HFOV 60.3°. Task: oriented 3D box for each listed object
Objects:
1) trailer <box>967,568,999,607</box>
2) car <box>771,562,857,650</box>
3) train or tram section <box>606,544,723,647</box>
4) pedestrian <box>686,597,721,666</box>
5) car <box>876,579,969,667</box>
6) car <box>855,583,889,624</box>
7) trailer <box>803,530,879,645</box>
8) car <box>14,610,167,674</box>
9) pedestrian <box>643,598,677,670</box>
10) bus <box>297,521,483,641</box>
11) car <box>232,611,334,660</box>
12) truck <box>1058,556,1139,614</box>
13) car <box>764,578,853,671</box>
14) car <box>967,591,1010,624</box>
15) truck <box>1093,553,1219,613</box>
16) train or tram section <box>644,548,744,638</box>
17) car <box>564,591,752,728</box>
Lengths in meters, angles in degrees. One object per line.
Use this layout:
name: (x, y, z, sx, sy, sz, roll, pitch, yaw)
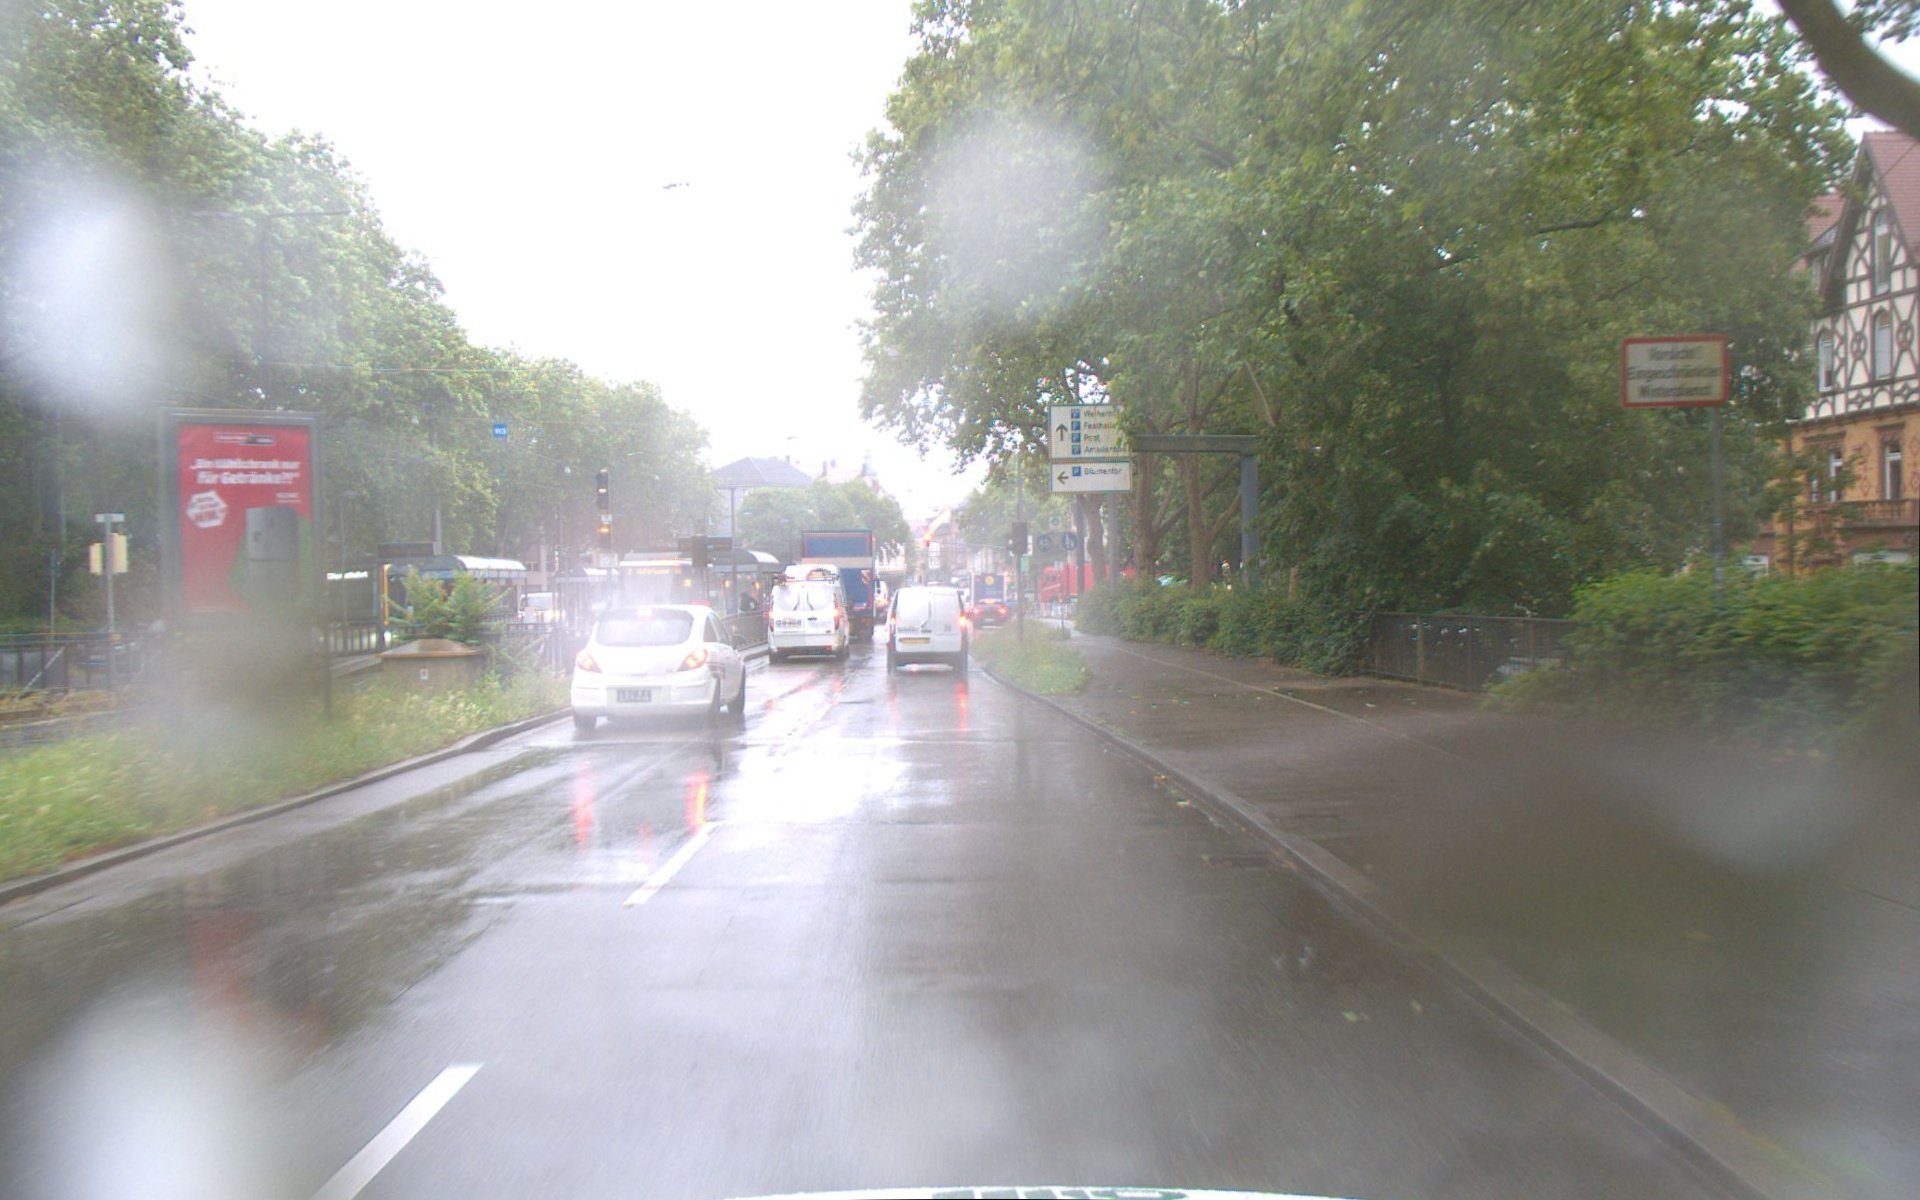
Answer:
trailer: (1.441, -0.780, 104.390, 1.952, 2.357, 4.668, 0, -1, 1)
car: (-4.520, 0.225, 52.079, 2.282, 2.602, 6.112, 0, -1, -1)
train or tram section: (-10.512, -0.218, 59.712, 2.902, 3.343, 8.357, -2, 1, -2)
pedestrian: (-6.644, 0.822, 42.883, 0.774, 1.744, 0.770, 1, -2, -2)
car: (-0.821, 0.498, 36.043, 1.919, 1.808, 3.568, 0, -1, -2)
car: (-5.506, 0.215, 103.881, 1.953, 2.485, 4.610, 1, 0, -2)
trailer: (-4.314, -0.435, 61.250, 2.538, 3.968, 7.632, 0, 0, -2)
car: (-23.089, 1.082, 44.103, 1.953, 1.544, 3.999, -2, 0, -1)
pedestrian: (-7.436, 0.843, 41.060, 0.701, 1.775, 0.750, -1, -1, -2)
bus: (-20.415, -0.575, 60.277, 2.969, 3.906, 12.239, 0, -1, -2)
car: (-23.427, 1.189, 57.368, 1.895, 1.544, 3.999, -2, 0, -1)
truck: (12.757, -1.366, 152.351, 7.004, 4.985, 3.292, -2, 1, 9)
car: (-3.921, 0.646, 43.591, 1.953, 2.302, 5.287, 0, -1, -1)
car: (1.406, 0.355, 80.978, 1.952, 1.569, 4.001, -1, 0, 3)
truck: (17.980, -1.557, 151.498, 11.121, 4.985, 3.292, -2, 1, 9)
train or tram section: (-10.820, -0.332, 68.106, 2.919, 3.343, 8.428, -2, 1, -2)
car: (-3.583, 0.692, 20.241, 1.690, 1.505, 3.804, 0, -1, -1)
